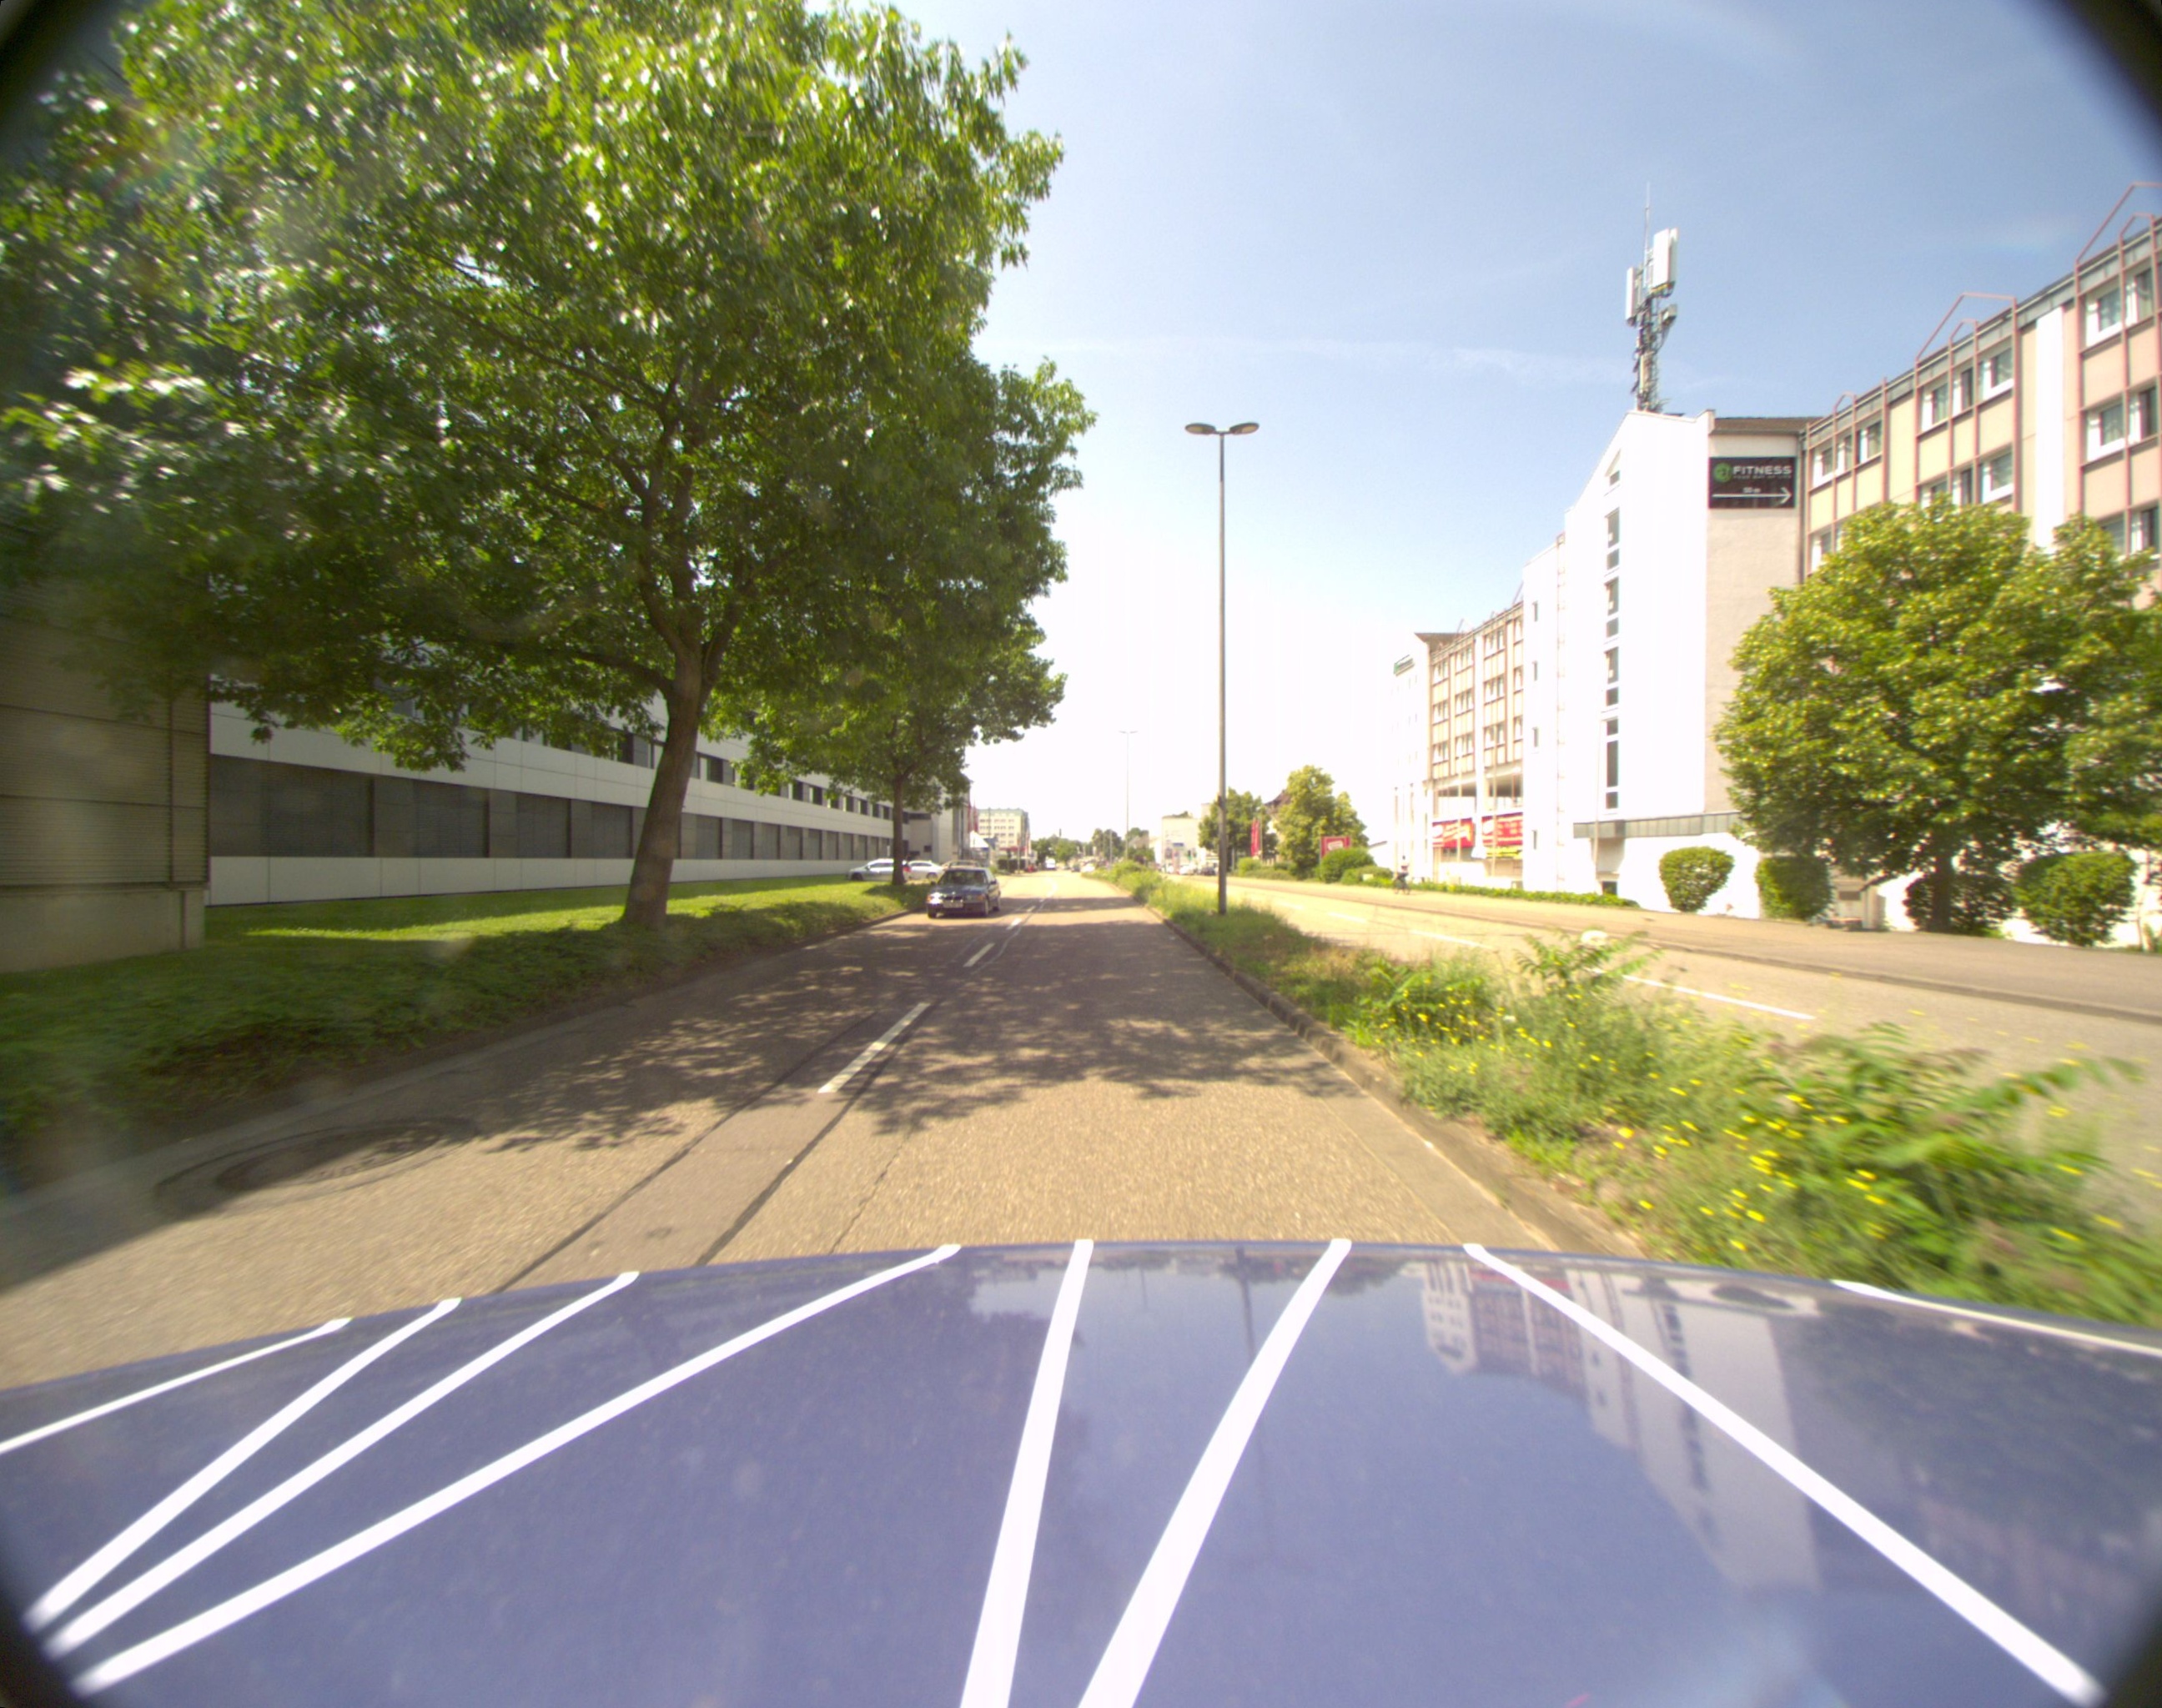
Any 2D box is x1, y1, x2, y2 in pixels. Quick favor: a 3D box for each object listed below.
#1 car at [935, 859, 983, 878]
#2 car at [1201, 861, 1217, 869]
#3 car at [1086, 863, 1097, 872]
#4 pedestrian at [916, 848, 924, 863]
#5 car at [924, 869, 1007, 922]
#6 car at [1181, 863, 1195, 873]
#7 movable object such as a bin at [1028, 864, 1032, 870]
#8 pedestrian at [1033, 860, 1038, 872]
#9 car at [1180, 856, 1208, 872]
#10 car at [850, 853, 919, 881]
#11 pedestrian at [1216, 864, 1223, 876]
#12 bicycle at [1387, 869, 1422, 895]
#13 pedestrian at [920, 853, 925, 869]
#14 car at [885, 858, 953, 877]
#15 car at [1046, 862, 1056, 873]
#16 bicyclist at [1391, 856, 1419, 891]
[{"bbox_3d":[-11.522,1.378,72.137,4.271,1.679,1.999,1,0,-4],"label":"car"},{"bbox_3d":[20.067,1.718,119.237,1.737,1.343,4.000,0,-1,-2],"label":"car"},{"bbox_3d":[1.735,2.128,123.672,1.693,1.425,3.712,0,-1,1],"label":"car"},{"bbox_3d":[-17.149,0.153,80.873,0.594,1.625,0.524,1,0,9],"label":"pedestrian"},{"bbox_3d":[-3.258,1.145,22.110,1.631,1.331,3.758,-1,-1,3],"label":"car"},{"bbox_3d":[16.889,2.213,120.038,1.780,1.402,4.760,1,-1,2],"label":"car"},{"bbox_3d":[-8.365,2.138,125.356,0.552,0.914,0.653,3,0,1],"label":"movable object such as a bin"},{"bbox_3d":[-7.435,1.944,124.089,0.787,1.836,0.936,0,0,3],"label":"pedestrian"},{"bbox_3d":[19.835,1.700,133.039,4.557,1.699,1.760,-14,0,6],"label":"car"},{"bbox_3d":[-12.229,0.812,47.386,3.823,1.582,1.732,3,0,-4],"label":"car"},{"bbox_3d":[19.078,2.214,104.696,0.742,1.737,1.034,0,0,3],"label":"pedestrian"},{"bbox_3d":[14.078,1.187,33.146,0.552,1.067,2.062,-1,0,-2],"label":"bicycle"},{"bbox_3d":[-17.145,0.756,82.241,0.523,1.653,0.756,1,0,-17],"label":"pedestrian"},{"bbox_3d":[-11.888,0.987,56.039,4.627,1.382,1.999,1,0,-4],"label":"car"},{"bbox_3d":[-7.824,3.459,197.615,2.183,2.757,7.278,2,-1,0],"label":"car"},{"bbox_3d":[14.121,0.825,33.142,0.719,1.507,1.026,1,0,-3],"label":"bicyclist"}]
